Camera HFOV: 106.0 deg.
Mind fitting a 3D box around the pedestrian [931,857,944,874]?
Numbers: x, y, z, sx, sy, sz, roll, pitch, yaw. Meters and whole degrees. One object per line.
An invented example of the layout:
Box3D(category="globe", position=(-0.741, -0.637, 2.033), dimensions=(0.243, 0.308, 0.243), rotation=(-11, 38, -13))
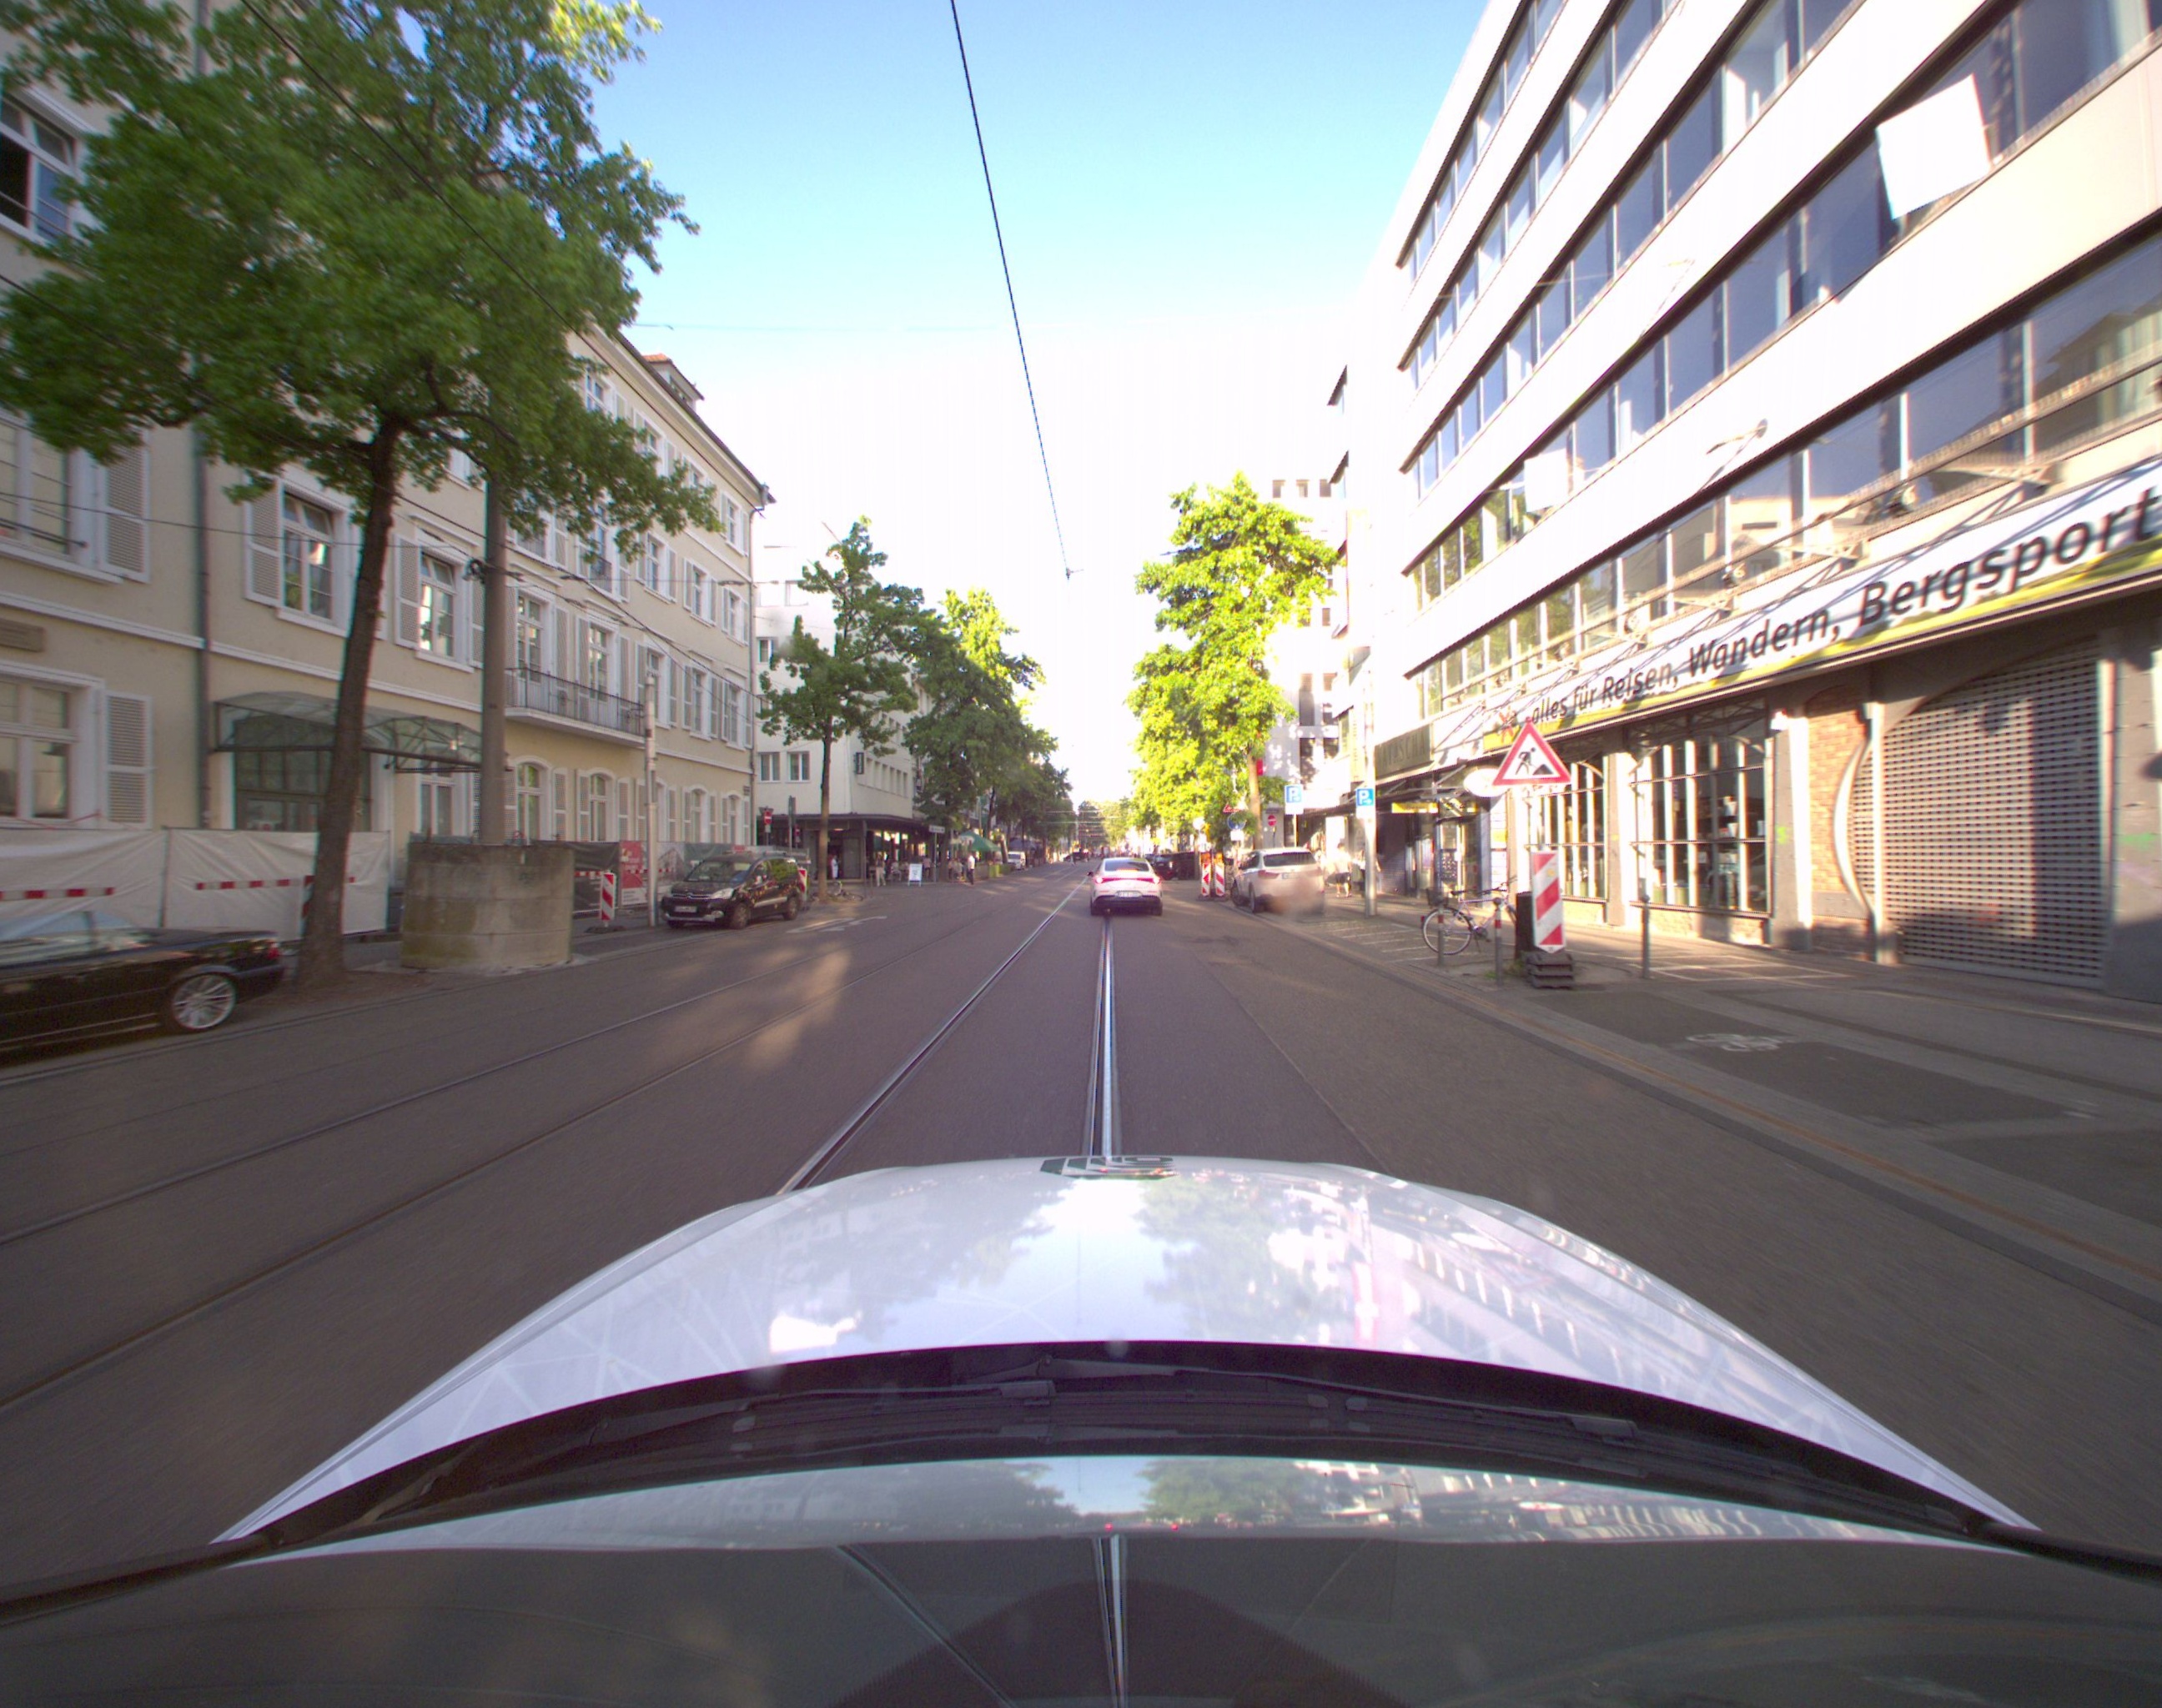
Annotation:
Box3D(category="pedestrian", position=(-11.087, 0.888, 62.983), dimensions=(0.774, 1.237, 0.945), rotation=(2, 0, 1))

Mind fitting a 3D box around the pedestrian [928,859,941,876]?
Box3D(category="pedestrian", position=(-11.120, 1.000, 61.881), dimensions=(0.734, 1.232, 0.788), rotation=(2, 0, 1))

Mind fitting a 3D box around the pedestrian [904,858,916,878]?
Box3D(category="pedestrian", position=(-11.432, 0.931, 54.320), dimensions=(0.600, 1.298, 0.687), rotation=(1, 0, 2))

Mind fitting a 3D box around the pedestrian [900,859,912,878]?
Box3D(category="pedestrian", position=(-11.186, 0.929, 52.130), dimensions=(0.550, 1.161, 0.687), rotation=(1, 0, 2))

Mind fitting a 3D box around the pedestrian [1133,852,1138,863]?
Box3D(category="pedestrian", position=(8.742, 0.592, 130.355), dimensions=(0.838, 1.801, 0.791), rotation=(1, 0, 3))

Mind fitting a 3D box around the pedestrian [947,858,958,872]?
Box3D(category="pedestrian", position=(-10.874, 0.927, 68.997), dimensions=(0.750, 1.188, 1.065), rotation=(2, 0, 1))

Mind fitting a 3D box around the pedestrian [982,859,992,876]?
Box3D(category="pedestrian", position=(-7.050, 1.033, 61.264), dimensions=(0.616, 1.245, 0.697), rotation=(2, 0, 1))

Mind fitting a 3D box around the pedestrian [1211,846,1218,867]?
Box3D(category="pedestrian", position=(11.413, 0.243, 69.624), dimensions=(0.521, 1.750, 0.559), rotation=(-3, 0, 4))

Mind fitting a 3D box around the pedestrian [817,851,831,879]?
Box3D(category="pedestrian", position=(-14.730, 0.631, 46.746), dimensions=(0.399, 1.604, 0.625), rotation=(-1, 0, 35))

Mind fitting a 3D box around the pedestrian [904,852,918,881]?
Box3D(category="pedestrian", position=(-10.576, 0.762, 50.751), dimensions=(0.675, 1.757, 0.697), rotation=(1, 0, 3))

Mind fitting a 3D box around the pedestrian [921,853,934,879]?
Box3D(category="pedestrian", position=(-9.666, 0.746, 51.271), dimensions=(0.616, 1.670, 0.697), rotation=(1, 0, 1))

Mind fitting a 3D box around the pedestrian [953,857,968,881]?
Box3D(category="pedestrian", position=(-7.347, 0.904, 49.643), dimensions=(0.686, 1.386, 0.807), rotation=(1, 0, 3))

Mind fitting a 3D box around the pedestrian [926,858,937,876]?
Box3D(category="pedestrian", position=(-11.131, 0.945, 60.813), dimensions=(0.616, 1.309, 0.697), rotation=(2, 0, 1))

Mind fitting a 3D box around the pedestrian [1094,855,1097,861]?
Box3D(category="pedestrian", position=(4.162, 1.221, 235.608), dimensions=(0.797, 1.782, 0.849), rotation=(1, 0, 1))

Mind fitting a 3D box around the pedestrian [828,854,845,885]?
Box3D(category="pedestrian", position=(-13.092, 0.807, 43.618), dimensions=(0.797, 1.614, 0.862), rotation=(0, 2, -15))

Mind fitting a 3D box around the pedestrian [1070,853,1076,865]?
Box3D(category="pedestrian", position=(-1.037, 0.691, 107.044), dimensions=(0.620, 1.550, 0.853), rotation=(1, 0, 2))

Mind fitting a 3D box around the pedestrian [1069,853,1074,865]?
Box3D(category="pedestrian", position=(-1.202, 0.666, 105.876), dimensions=(0.620, 1.509, 0.834), rotation=(1, 0, 2))

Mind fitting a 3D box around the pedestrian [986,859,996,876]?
Box3D(category="pedestrian", position=(-6.900, 1.015, 62.157), dimensions=(0.616, 1.245, 0.697), rotation=(2, 0, 1))

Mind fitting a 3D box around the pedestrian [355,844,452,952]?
Box3D(category="pedestrian", position=(-11.731, 0.734, 14.139), dimensions=(0.771, 1.792, 0.985), rotation=(2, 0, 3))

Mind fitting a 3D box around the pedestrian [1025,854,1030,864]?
Box3D(category="pedestrian", position=(-7.890, 0.710, 119.737), dimensions=(0.595, 1.533, 0.672), rotation=(1, 0, 2))

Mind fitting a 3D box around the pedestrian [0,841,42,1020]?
Box3D(category="pedestrian", position=(-11.262, 0.758, 8.016), dimensions=(0.862, 1.781, 0.885), rotation=(2, 0, 1))

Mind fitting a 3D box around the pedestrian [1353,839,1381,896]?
Box3D(category="pedestrian", position=(9.354, 0.443, 26.673), dimensions=(0.685, 1.830, 0.635), rotation=(-1, 0, 1))

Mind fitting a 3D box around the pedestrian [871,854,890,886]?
Box3D(category="pedestrian", position=(-10.563, 0.842, 42.917), dimensions=(0.704, 1.656, 0.968), rotation=(-1, 0, 3))

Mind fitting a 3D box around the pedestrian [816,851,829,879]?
Box3D(category="pedestrian", position=(-15.082, 0.640, 47.486), dimensions=(0.399, 1.604, 0.625), rotation=(-1, 0, 35))

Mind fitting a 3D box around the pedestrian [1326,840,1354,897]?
Box3D(category="pedestrian", position=(8.482, 0.459, 26.662), dimensions=(0.702, 1.830, 0.635), rotation=(-1, 0, 1))

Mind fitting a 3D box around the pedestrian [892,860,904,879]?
Box3D(category="pedestrian", position=(-11.752, 0.979, 52.310), dimensions=(0.550, 1.161, 0.687), rotation=(1, 0, 2))

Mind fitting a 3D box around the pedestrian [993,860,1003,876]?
Box3D(category="pedestrian", position=(-6.939, 1.176, 68.229), dimensions=(0.654, 1.244, 0.873), rotation=(2, 0, 1))

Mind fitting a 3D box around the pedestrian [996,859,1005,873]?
Box3D(category="pedestrian", position=(-6.868, 1.029, 69.281), dimensions=(0.654, 1.193, 0.798), rotation=(2, 0, 1))

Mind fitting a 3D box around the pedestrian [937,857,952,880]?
Box3D(category="pedestrian", position=(-8.310, 0.865, 49.665), dimensions=(0.686, 1.386, 0.807), rotation=(1, 0, 3))

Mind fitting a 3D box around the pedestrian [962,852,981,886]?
Box3D(category="pedestrian", position=(-5.645, 0.757, 41.956), dimensions=(0.792, 1.740, 0.867), rotation=(-1, 1, 5))

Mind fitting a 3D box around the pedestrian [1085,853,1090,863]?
Box3D(category="pedestrian", position=(1.130, 0.738, 143.377), dimensions=(0.784, 1.801, 0.845), rotation=(-1, 0, 3))
